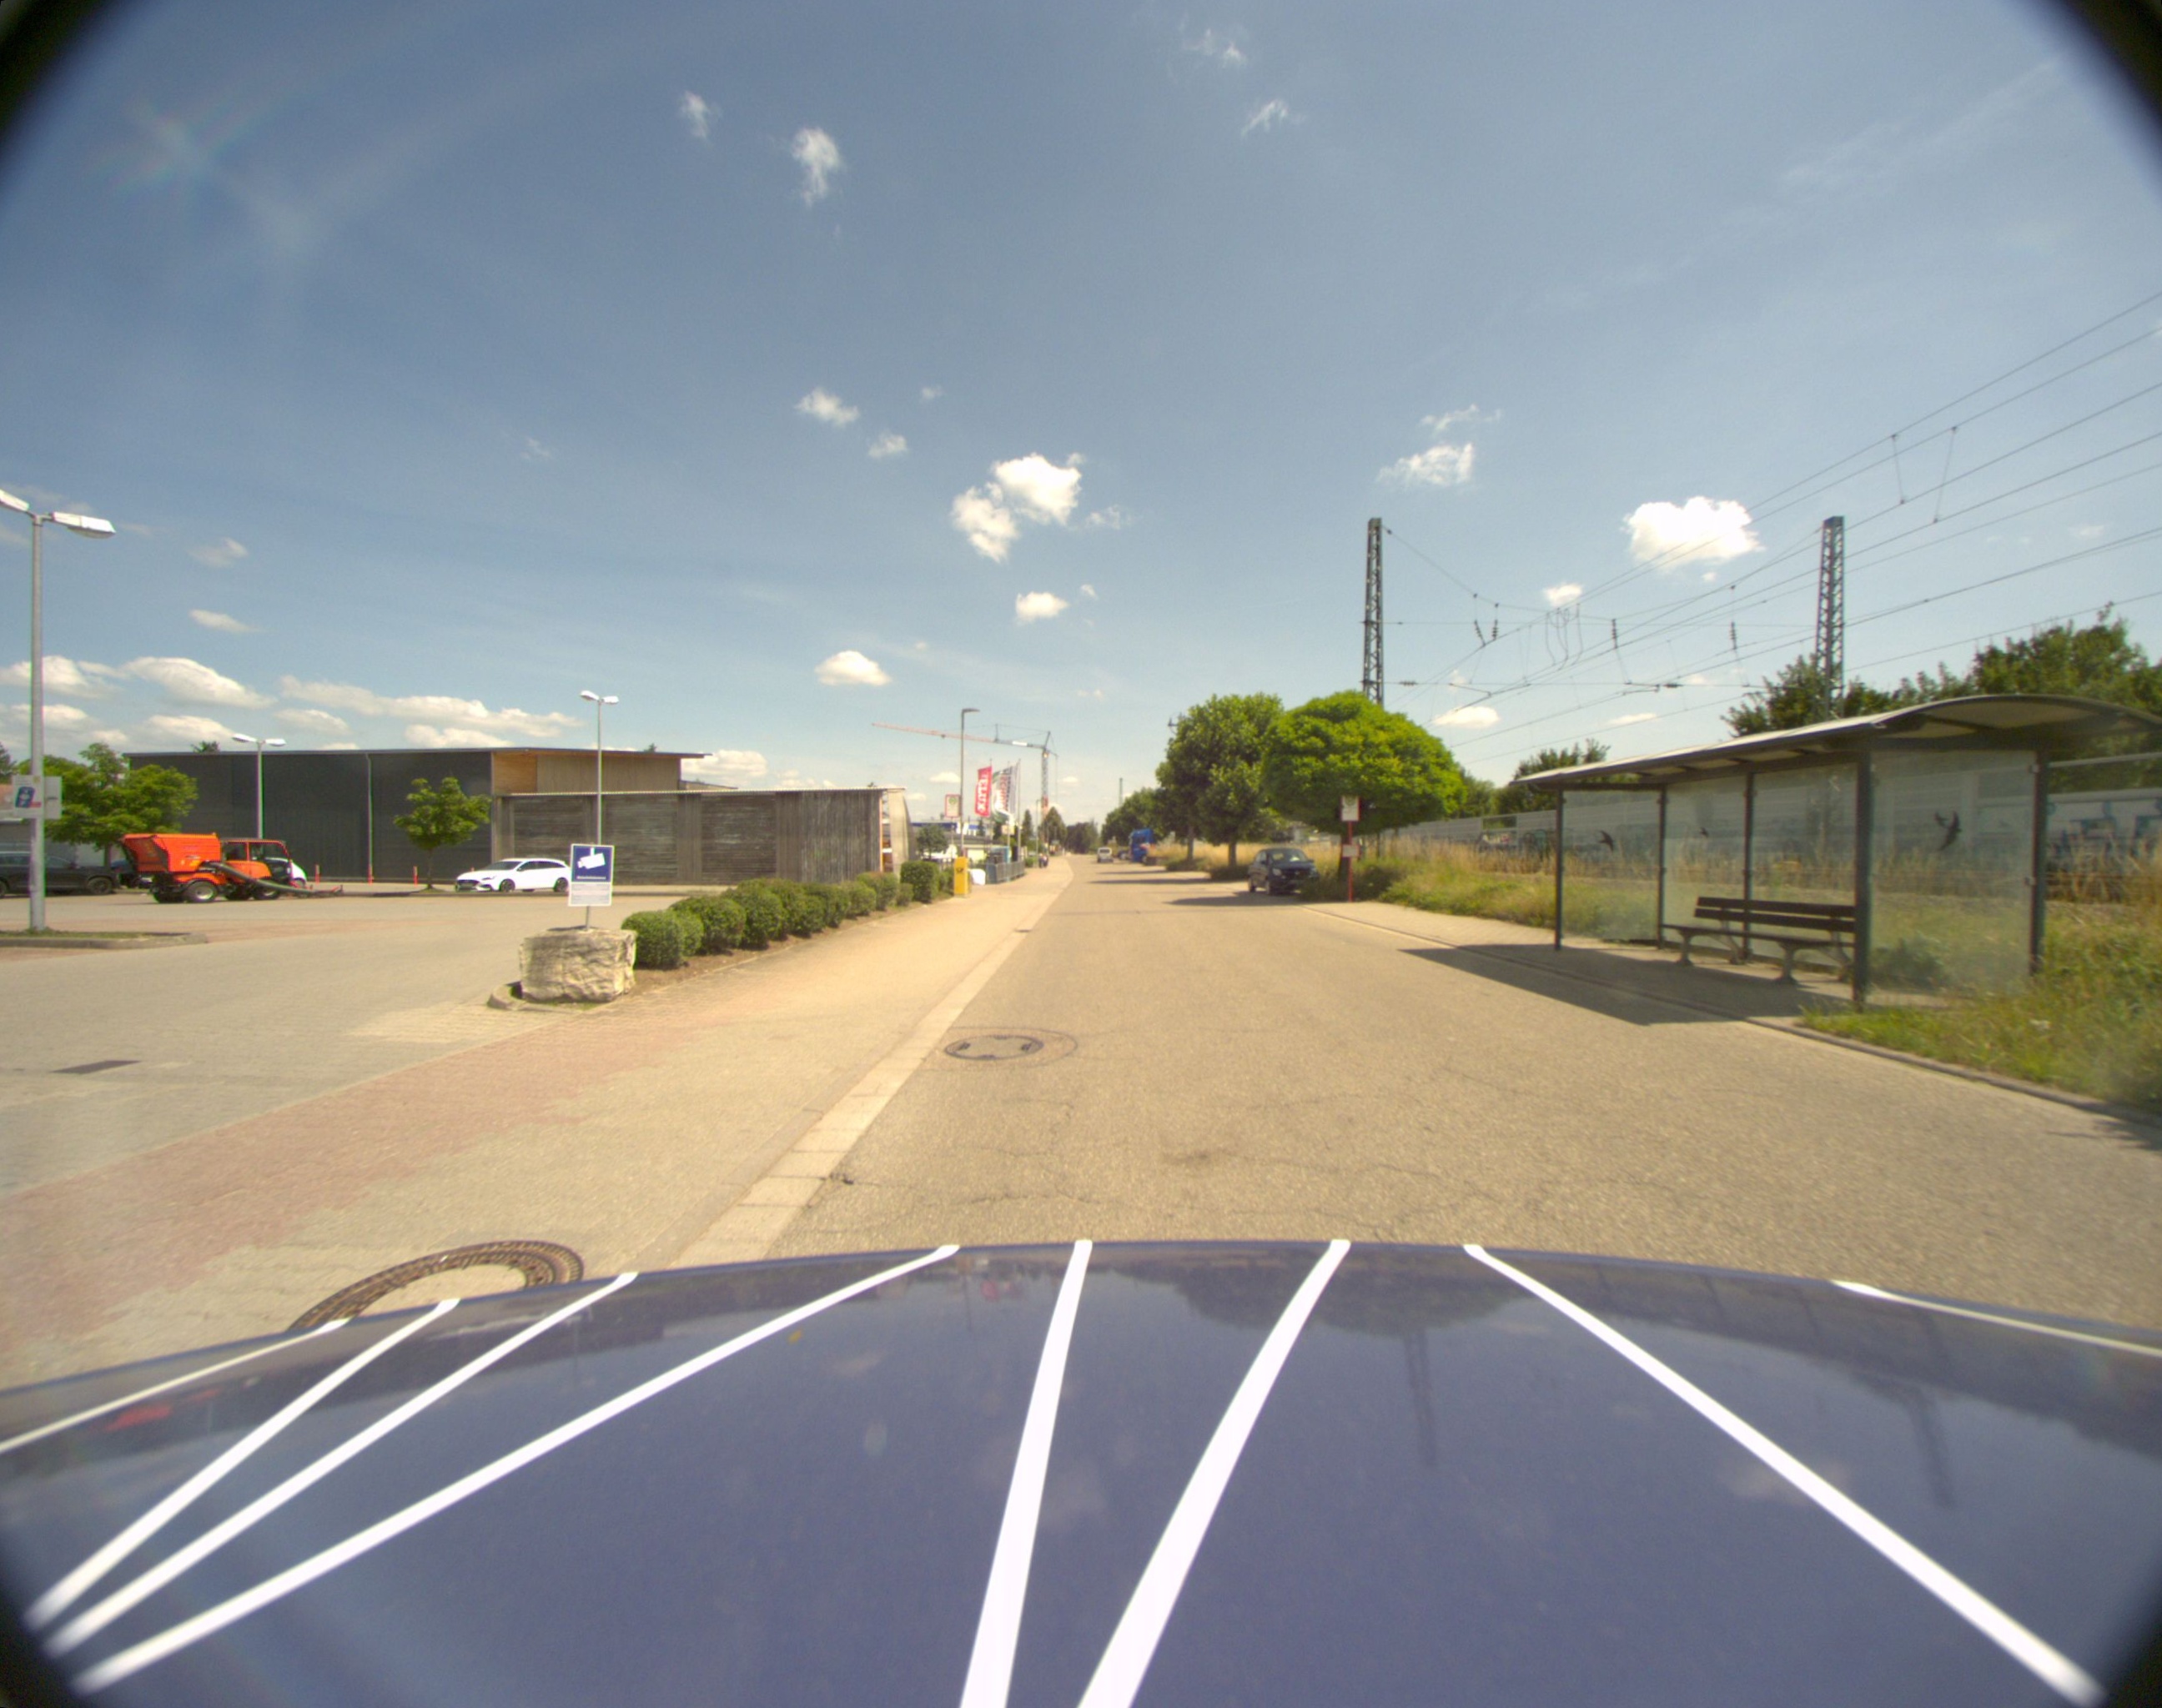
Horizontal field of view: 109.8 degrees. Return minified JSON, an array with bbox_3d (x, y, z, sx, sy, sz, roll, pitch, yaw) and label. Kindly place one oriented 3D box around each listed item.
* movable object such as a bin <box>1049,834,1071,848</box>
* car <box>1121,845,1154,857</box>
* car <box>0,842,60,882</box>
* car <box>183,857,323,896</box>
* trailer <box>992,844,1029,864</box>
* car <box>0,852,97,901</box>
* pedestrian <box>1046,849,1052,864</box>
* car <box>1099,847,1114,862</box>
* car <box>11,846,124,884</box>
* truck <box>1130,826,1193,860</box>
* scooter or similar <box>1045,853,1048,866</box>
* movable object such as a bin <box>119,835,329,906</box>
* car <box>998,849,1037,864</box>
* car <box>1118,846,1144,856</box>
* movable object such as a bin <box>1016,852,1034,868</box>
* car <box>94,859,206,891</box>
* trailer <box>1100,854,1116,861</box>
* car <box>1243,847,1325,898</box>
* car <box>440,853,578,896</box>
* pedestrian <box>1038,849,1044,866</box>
[{"bbox_3d":[-5.273,-3.217,191.651,5.133,3.277,2.390,0,6,-18],"label":"movable object such as a bin"},{"bbox_3d":[7.863,-0.432,105.412,4.349,1.524,1.926,-1,1,-1],"label":"car"},{"bbox_3d":[-47.365,0.342,33.344,1.296,1.678,2.708,1,1,12],"label":"car"},{"bbox_3d":[-35.992,0.924,33.186,1.583,1.565,4.001,0,0,4],"label":"car"},{"bbox_3d":[-8.083,0.040,87.100,3.997,2.000,2.002,-2,-6,-1],"label":"trailer"},{"bbox_3d":[-38.756,0.819,27.576,1.508,1.604,3.342,1,3,13],"label":"car"},{"bbox_3d":[-3.148,0.262,74.025,0.595,1.397,0.583,0,3,-3],"label":"pedestrian"},{"bbox_3d":[3.326,0.032,101.205,1.843,1.847,4.483,-1,1,0],"label":"car"},{"bbox_3d":[-43.991,0.454,33.056,1.224,1.558,2.673,1,1,6],"label":"car"},{"bbox_3d":[8.892,-1.219,84.825,6.633,3.801,2.663,0,1,-4],"label":"truck"},{"bbox_3d":[-3.249,0.494,71.581,0.334,1.191,0.397,1,3,0],"label":"scooter or similar"},{"bbox_3d":[-29.228,0.522,26.146,1.682,2.191,4.526,1,0,13],"label":"movable object such as a bin"},{"bbox_3d":[-6.929,0.263,83.419,4.224,1.625,1.799,0,3,-2],"label":"car"},{"bbox_3d":[7.636,-0.510,116.235,3.954,1.442,1.787,0,1,3],"label":"car"},{"bbox_3d":[-5.301,0.608,71.689,1.270,1.450,1.046,-3,1,-38],"label":"movable object such as a bin"},{"bbox_3d":[-40.702,0.889,33.296,1.498,1.301,2.806,-1,0,-4],"label":"car"},{"bbox_3d":[3.388,0.452,96.824,1.823,0.845,4.221,1,0,-1],"label":"trailer"},{"bbox_3d":[6.815,0.583,25.848,1.746,1.587,3.578,-1,1,-1],"label":"car"},{"bbox_3d":[-23.542,0.803,31.517,1.997,1.652,4.441,0,0,7],"label":"car"},{"bbox_3d":[-3.735,0.319,71.637,0.536,1.532,0.510,0,5,-2],"label":"pedestrian"}]
